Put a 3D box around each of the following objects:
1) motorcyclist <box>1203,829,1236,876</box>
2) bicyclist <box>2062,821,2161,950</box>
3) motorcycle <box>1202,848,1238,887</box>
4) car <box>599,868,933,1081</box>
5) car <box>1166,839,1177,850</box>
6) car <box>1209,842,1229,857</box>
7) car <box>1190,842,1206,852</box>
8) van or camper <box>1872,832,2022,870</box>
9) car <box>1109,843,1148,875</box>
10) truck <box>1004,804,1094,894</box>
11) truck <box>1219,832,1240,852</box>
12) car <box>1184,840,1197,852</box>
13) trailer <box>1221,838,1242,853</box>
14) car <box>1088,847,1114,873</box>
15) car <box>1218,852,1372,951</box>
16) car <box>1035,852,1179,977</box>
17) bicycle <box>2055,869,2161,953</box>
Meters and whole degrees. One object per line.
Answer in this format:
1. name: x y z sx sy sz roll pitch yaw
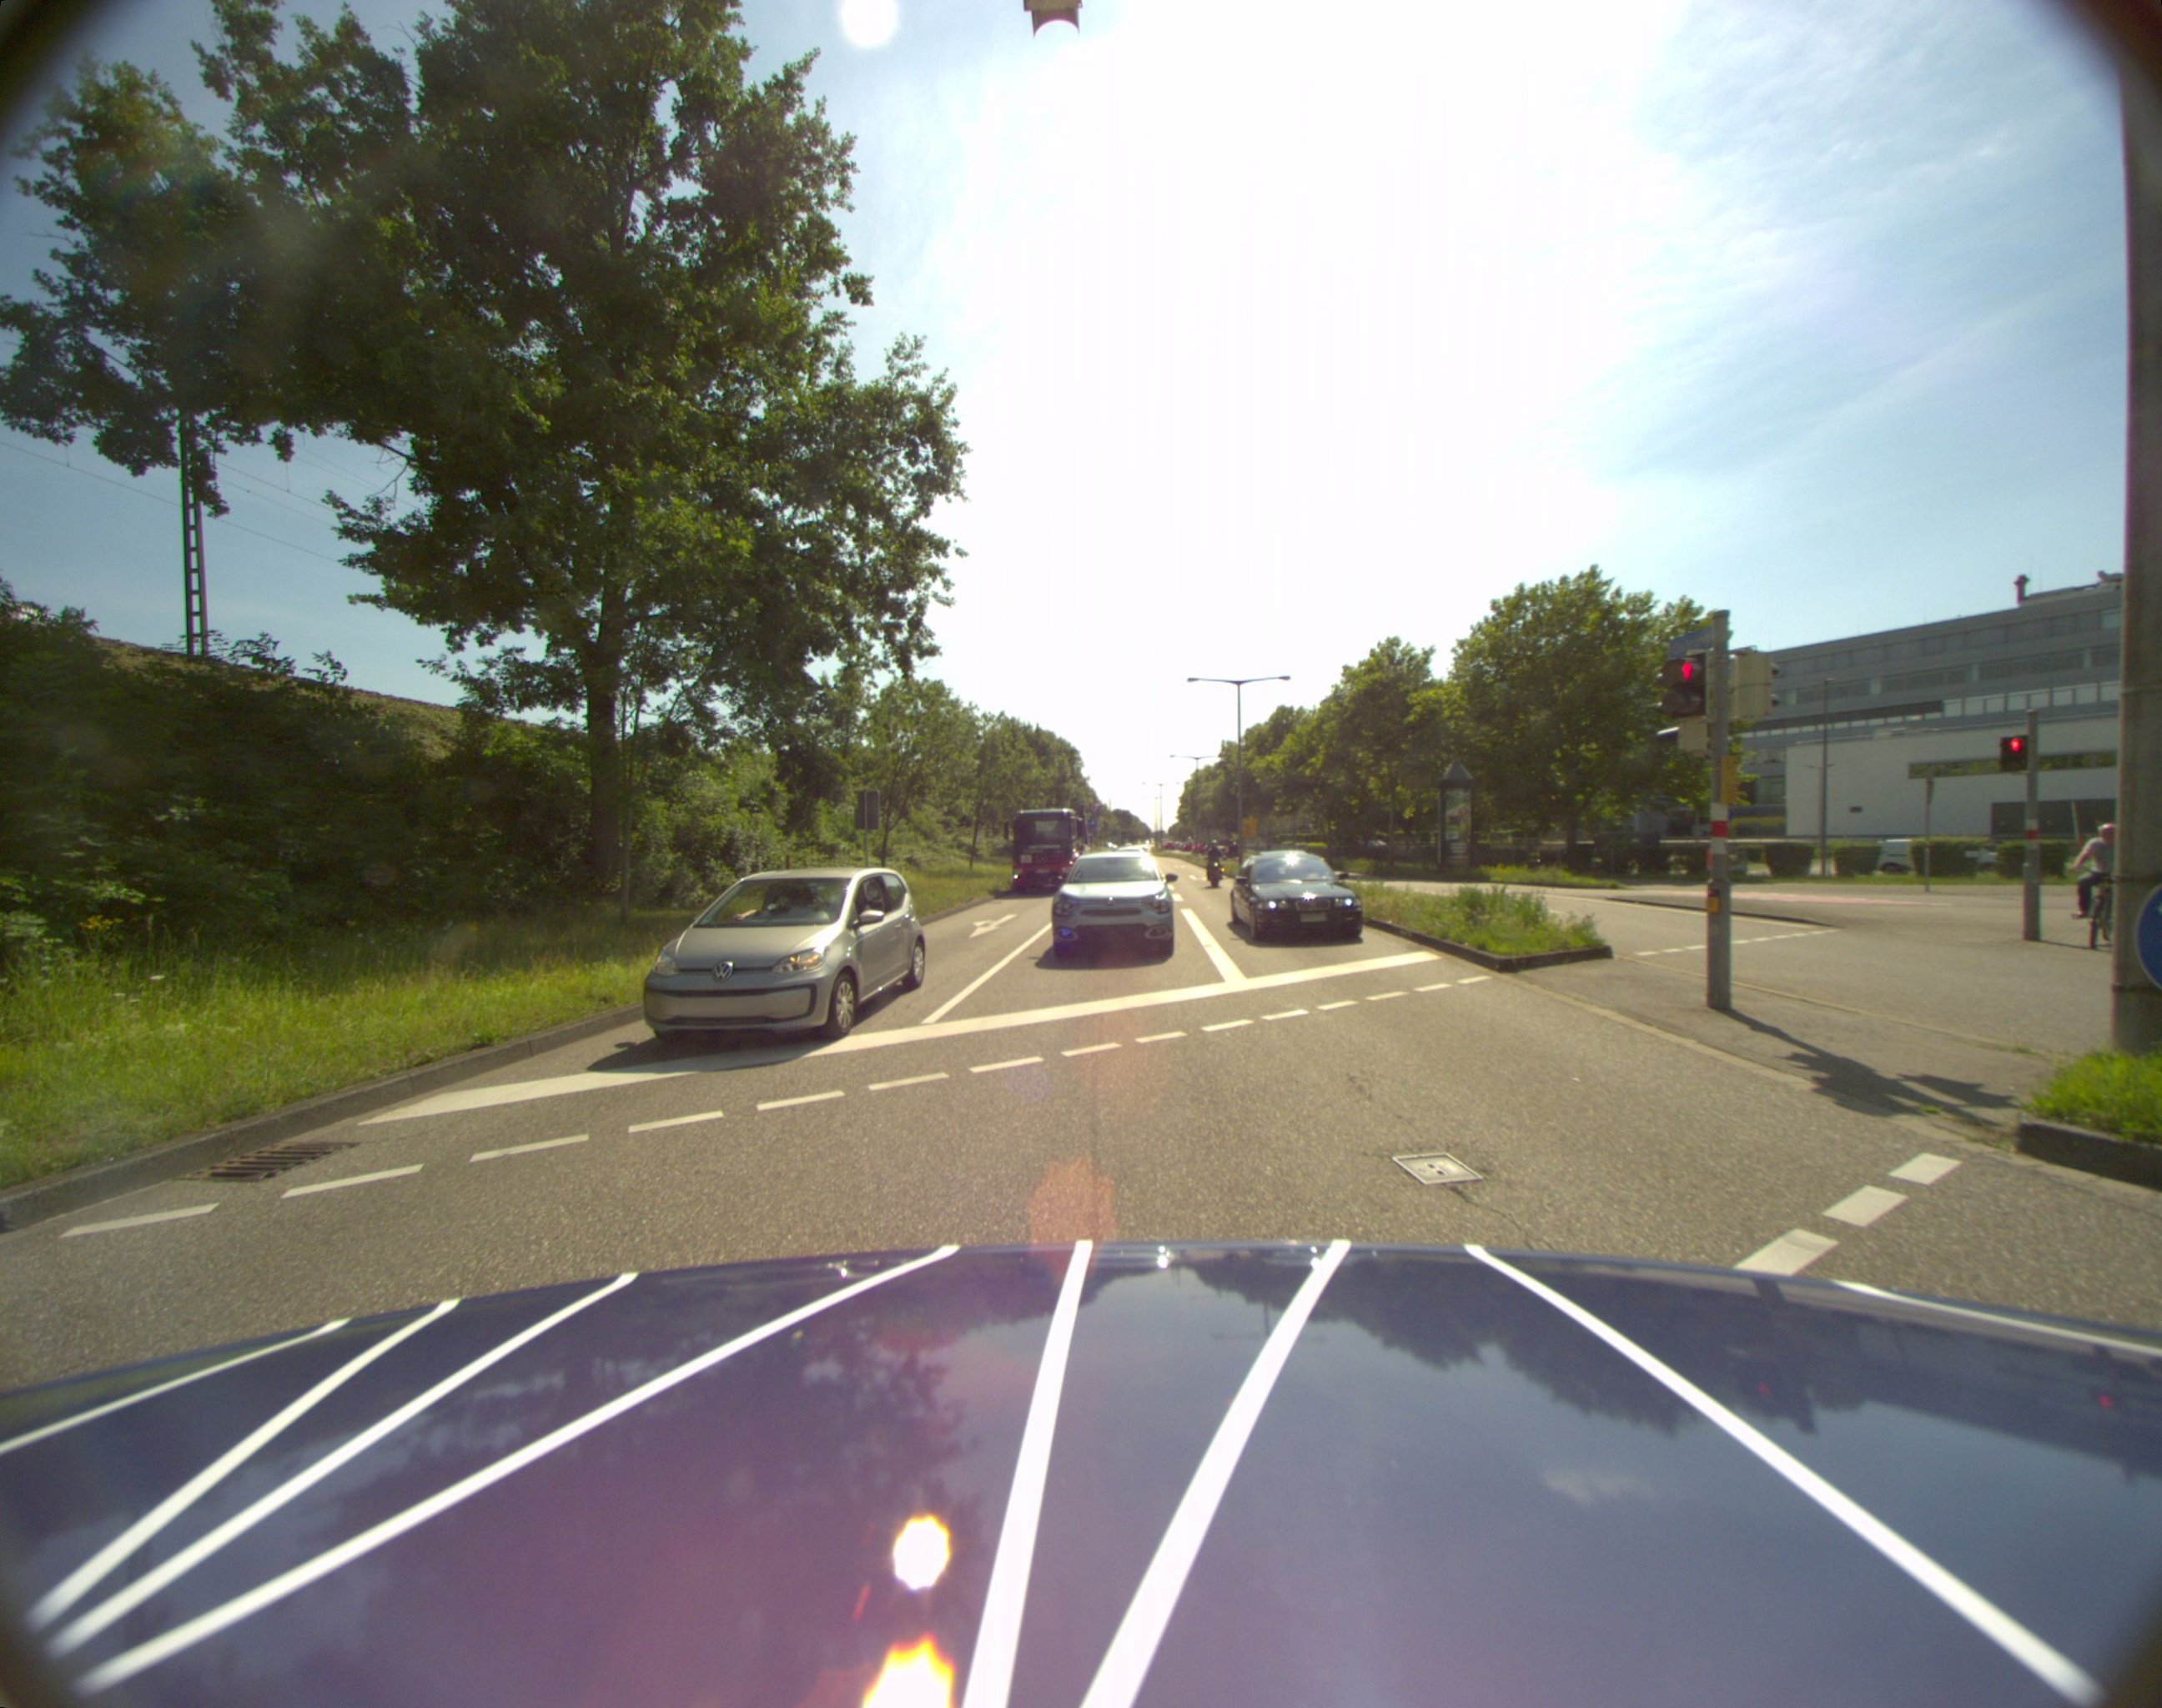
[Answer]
1. motorcyclist: 5.109 -0.075 28.041 1.066 1.689 1.042 -1 1 3
2. bicyclist: 14.905 0.432 10.991 0.769 1.778 0.704 -2 2 -25
3. motorcycle: 5.104 0.466 28.053 1.051 1.343 2.332 -1 1 3
4. car: -2.753 0.954 7.618 1.705 1.429 3.678 -2 1 1
5. car: 17.699 -1.854 148.492 1.998 2.002 4.001 -1 1 4
6. car: 14.099 -0.486 77.689 1.653 1.505 3.736 -1 1 4
7. car: 17.273 -1.076 112.305 1.852 1.426 3.767 -1 1 3
8. van or camper: 41.447 -0.165 36.479 2.003 1.682 4.501 -2 1 -33
9. car: 2.530 0.212 39.316 1.825 1.521 4.548 -1 1 5
10. truck: -1.104 -0.229 31.540 2.775 3.248 7.484 -1 1 5
11. truck: 19.156 -1.549 98.315 2.143 2.461 7.131 -1 1 7
12. car: 19.848 -1.462 137.699 1.998 2.002 4.001 -1 1 4
13. trailer: 18.351 -1.020 92.798 2.066 1.706 3.992 -1 1 7
14. car: 1.702 0.492 63.634 1.998 2.002 4.000 -1 1 4
15. car: 3.569 0.711 13.412 1.730 1.354 4.067 -2 1 3
16. car: 0.553 0.780 12.111 1.825 1.521 4.753 -1 1 5
17. bicycle: 14.922 0.792 11.002 2.168 1.058 0.524 -2 1 -25
